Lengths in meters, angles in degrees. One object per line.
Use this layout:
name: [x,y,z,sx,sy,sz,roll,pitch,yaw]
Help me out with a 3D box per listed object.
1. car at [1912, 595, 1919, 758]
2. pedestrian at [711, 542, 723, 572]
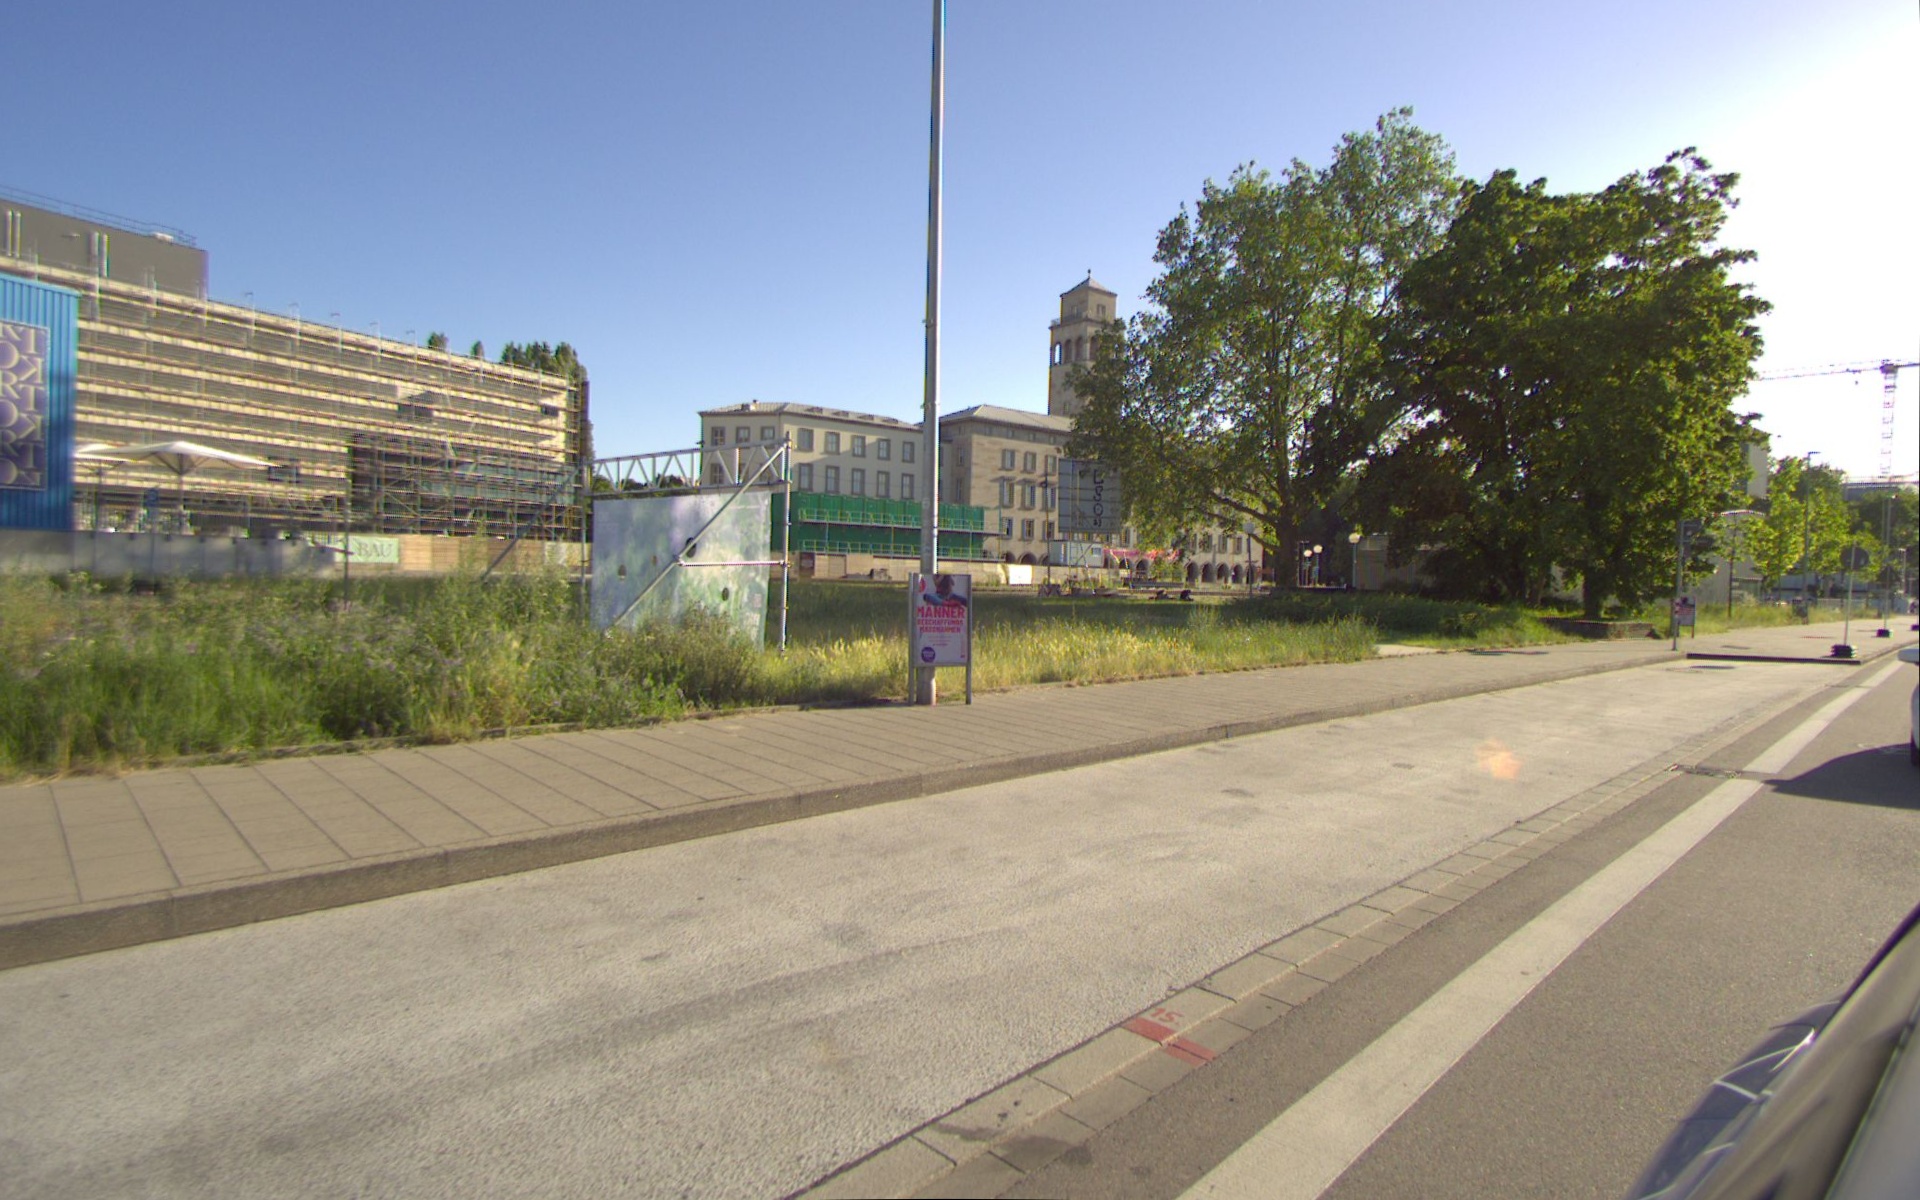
car: [10.663,0.698,10.066,3.339,1.516,1.611,0,-1,-45]
pedestrian: [-10.859,-1.939,45.181,0.432,1.312,0.574,-2,0,-22]
